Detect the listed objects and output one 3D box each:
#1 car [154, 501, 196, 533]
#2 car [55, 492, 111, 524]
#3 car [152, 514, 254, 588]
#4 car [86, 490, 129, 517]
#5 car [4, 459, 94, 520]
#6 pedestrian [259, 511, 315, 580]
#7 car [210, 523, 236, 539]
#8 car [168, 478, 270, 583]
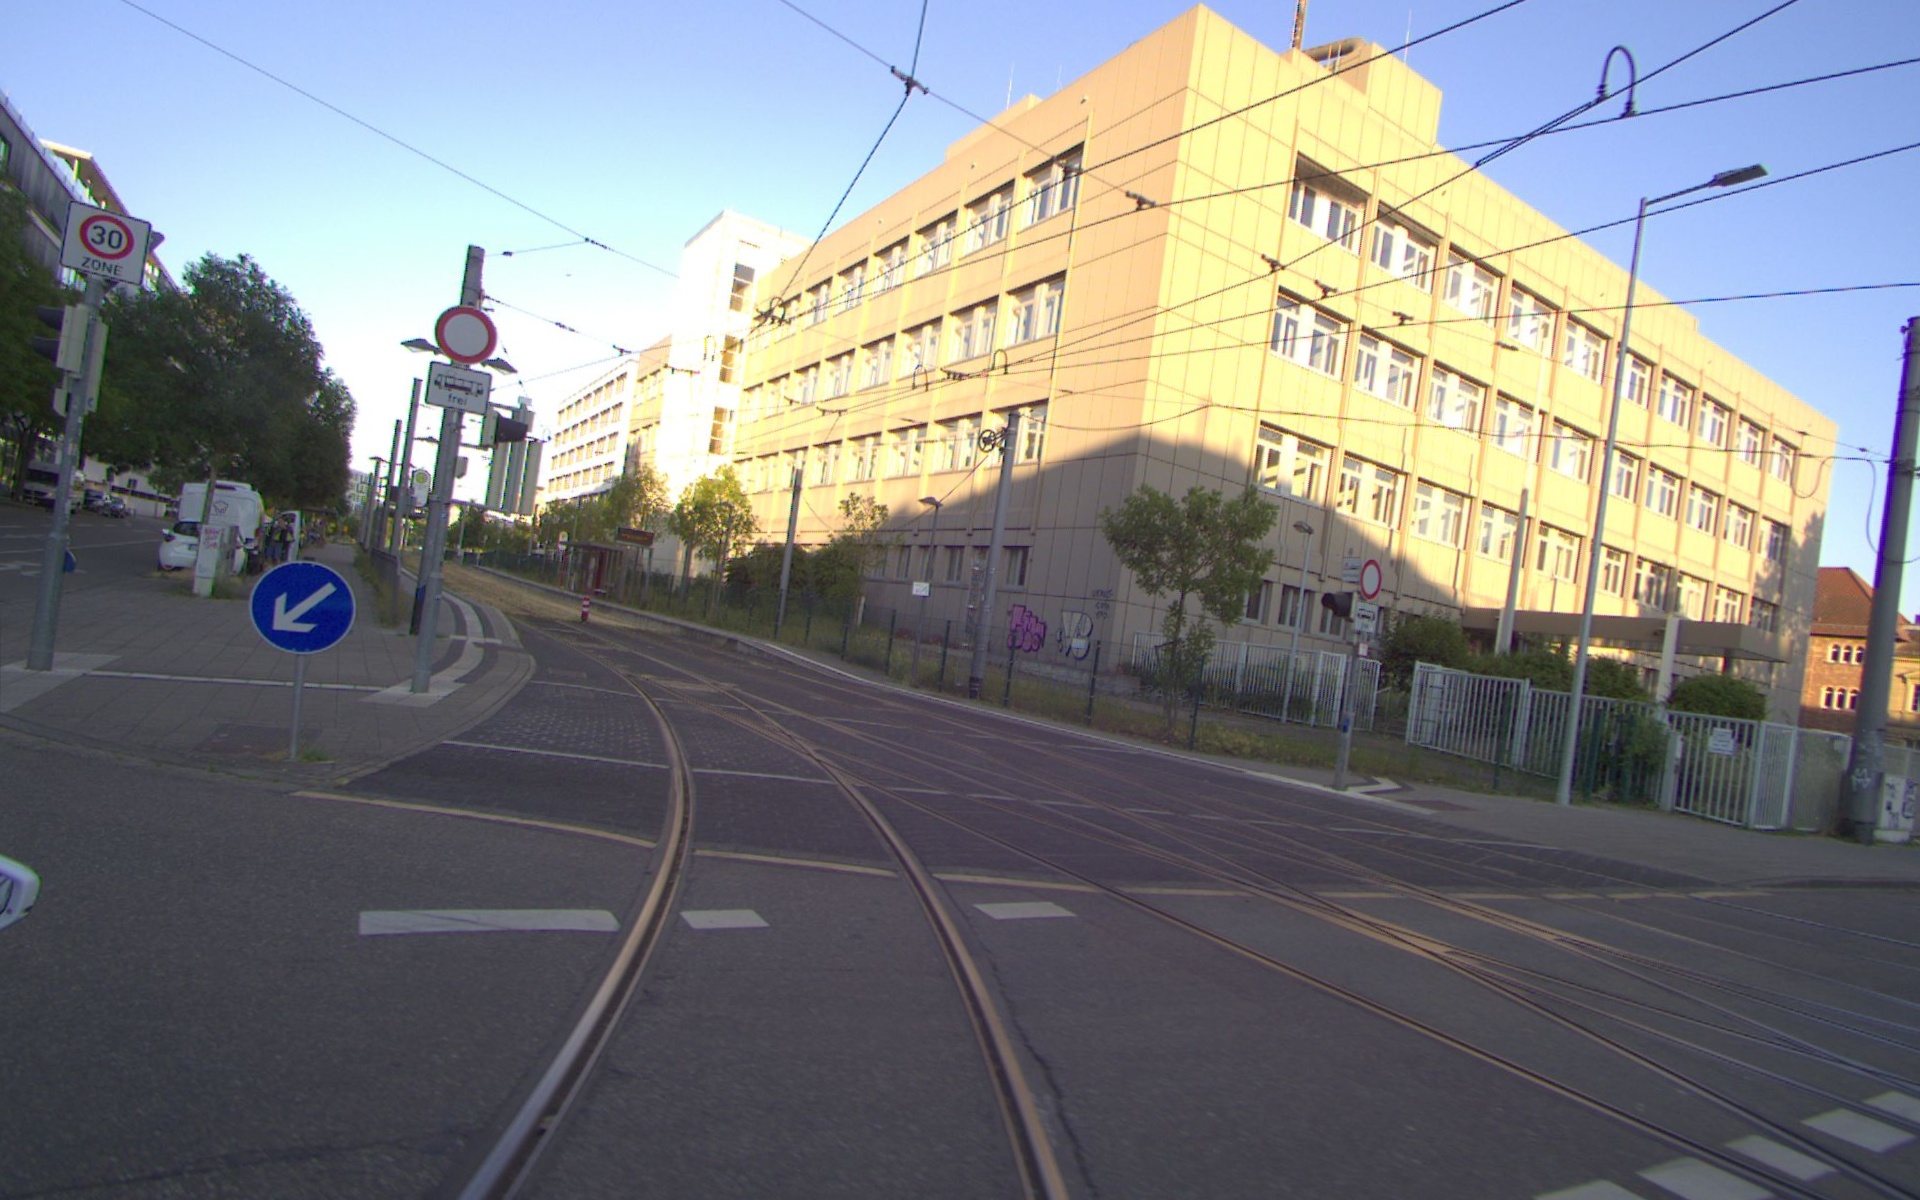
[{"bbox_3d":[-77.688,-8.195,99.670,1.947,2.645,6.838,11,-3,-30],"label":"car"},{"bbox_3d":[-55.867,-5.843,64.186,1.833,1.589,4.232,10,-2,-32],"label":"car"},{"bbox_3d":[-19.450,-1.270,25.996,1.736,1.603,3.977,5,0,-33],"label":"car"},{"bbox_3d":[-58.107,-6.551,68.618,1.707,1.468,4.356,10,-2,-36],"label":"car"},{"bbox_3d":[-49.781,-5.947,55.141,2.087,2.694,6.893,9,-2,-32],"label":"car"},{"bbox_3d":[-21.660,-1.741,32.390,0.792,2.037,0.980,8,-1,13],"label":"pedestrian"},{"bbox_3d":[-91.805,-8.583,125.354,1.709,1.473,4.245,11,-3,-25],"label":"car"},{"bbox_3d":[-22.392,-2.076,30.584,2.037,2.691,5.386,5,0,-33],"label":"car"}]
